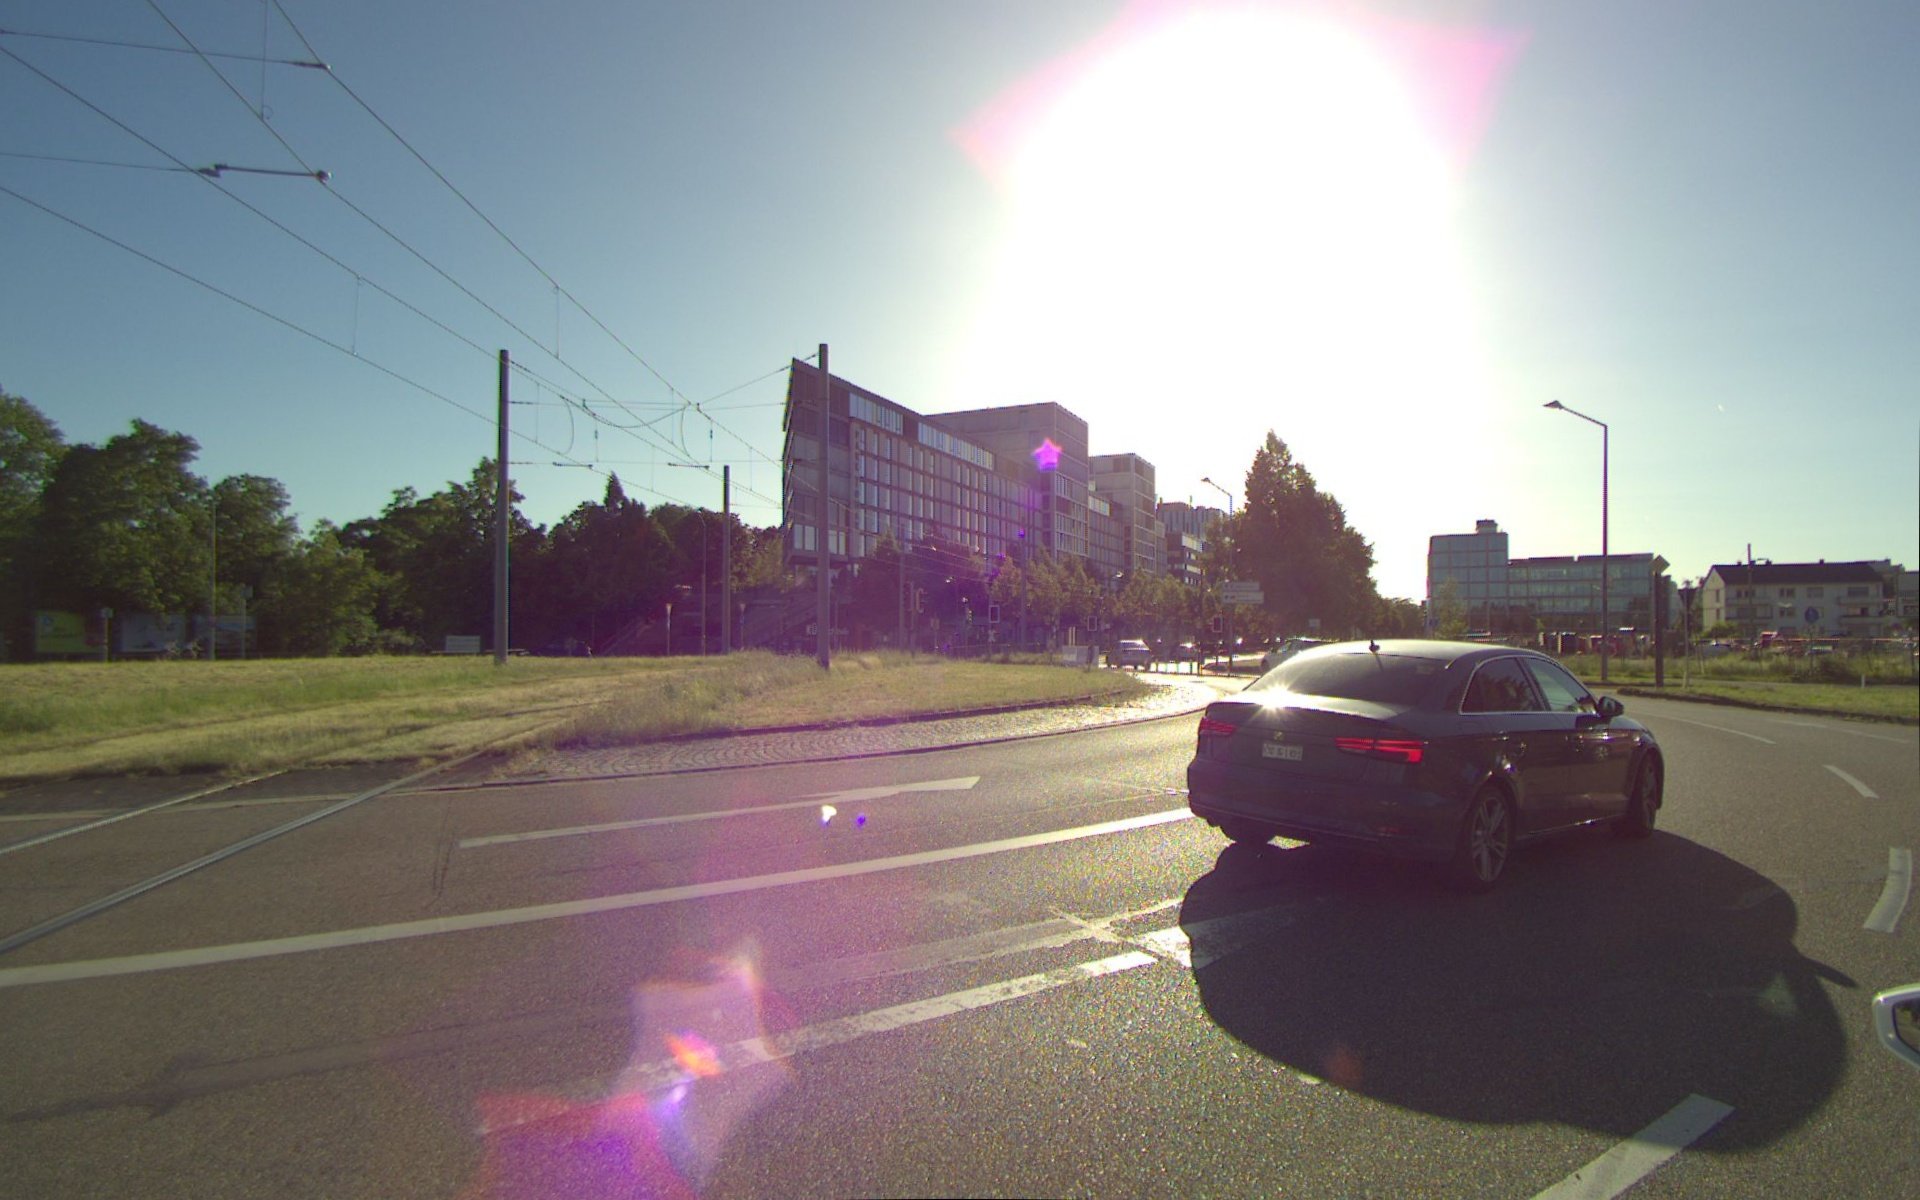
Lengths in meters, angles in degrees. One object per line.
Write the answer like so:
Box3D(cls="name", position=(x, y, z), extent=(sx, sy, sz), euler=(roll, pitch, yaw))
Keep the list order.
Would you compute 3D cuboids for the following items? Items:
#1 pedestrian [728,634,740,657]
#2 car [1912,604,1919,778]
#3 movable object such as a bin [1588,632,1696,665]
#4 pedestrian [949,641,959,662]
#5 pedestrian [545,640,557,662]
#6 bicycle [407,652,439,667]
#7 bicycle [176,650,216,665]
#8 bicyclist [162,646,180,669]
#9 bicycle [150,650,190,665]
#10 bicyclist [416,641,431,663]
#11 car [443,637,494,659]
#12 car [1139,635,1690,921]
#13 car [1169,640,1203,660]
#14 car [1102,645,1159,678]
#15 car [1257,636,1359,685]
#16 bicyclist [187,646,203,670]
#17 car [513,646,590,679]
Box3D(cls="pedestrian", position=(-20.018, 4.039, 88.837), extent=(0.826, 2.040, 0.633), euler=(2, -2, -37))
Box3D(cls="car", position=(9.938, 0.910, 8.884), extent=(1.780, 1.837, 3.795), euler=(0, -2, 37))
Box3D(cls="movable object such as a bin", position=(61.677, 4.373, 91.040), extent=(7.788, 2.819, 2.939), euler=(-1, -2, 28))
Box3D(cls="pedestrian", position=(-0.439, 3.760, 73.231), extent=(0.545, 1.485, 0.677), euler=(0, -2, 23))
Box3D(cls="pedestrian", position=(-30.737, 3.807, 75.500), extent=(0.751, 1.651, 0.879), euler=(1, -2, -27))
Box3D(cls="bicycle", position=(-37.808, 4.215, 70.732), extent=(0.577, 1.025, 1.865), euler=(-1, -3, 34))
Box3D(cls="bicycle", position=(-46.416, 3.508, 61.053), extent=(1.874, 0.864, 0.610), euler=(2, -2, -42))
Box3D(cls="bicyclist", position=(-47.762, 3.467, 60.799), extent=(0.831, 1.411, 0.610), euler=(1, -2, -41))
Box3D(cls="bicycle", position=(-47.769, 3.469, 60.776), extent=(1.874, 0.864, 0.610), euler=(2, -2, -42))
Box3D(cls="bicyclist", position=(-37.788, 3.676, 70.752), extent=(0.577, 1.487, 0.754), euler=(-1, -3, 34))
Box3D(cls="car", position=(-42.497, 4.163, 86.931), extent=(3.687, 1.829, 1.831), euler=(1, -2, -20))
Box3D(cls="car", position=(3.368, 0.971, 7.049), extent=(4.320, 1.398, 1.747), euler=(2, -2, -38))
Box3D(cls="car", position=(19.063, 4.214, 84.578), extent=(1.962, 1.596, 4.405), euler=(-1, -2, 24))
Box3D(cls="car", position=(8.916, 3.215, 52.889), extent=(1.962, 1.596, 4.406), euler=(0, -2, -4))
Box3D(cls="car", position=(12.017, 2.062, 34.891), extent=(1.775, 1.481, 3.804), euler=(1, -1, -9))
Box3D(cls="bicyclist", position=(-46.451, 3.504, 61.020), extent=(0.713, 1.411, 0.610), euler=(1, -2, -41))
Box3D(cls="car", position=(-23.415, 3.576, 57.627), extent=(3.874, 1.808, 1.760), euler=(2, -2, -32))
